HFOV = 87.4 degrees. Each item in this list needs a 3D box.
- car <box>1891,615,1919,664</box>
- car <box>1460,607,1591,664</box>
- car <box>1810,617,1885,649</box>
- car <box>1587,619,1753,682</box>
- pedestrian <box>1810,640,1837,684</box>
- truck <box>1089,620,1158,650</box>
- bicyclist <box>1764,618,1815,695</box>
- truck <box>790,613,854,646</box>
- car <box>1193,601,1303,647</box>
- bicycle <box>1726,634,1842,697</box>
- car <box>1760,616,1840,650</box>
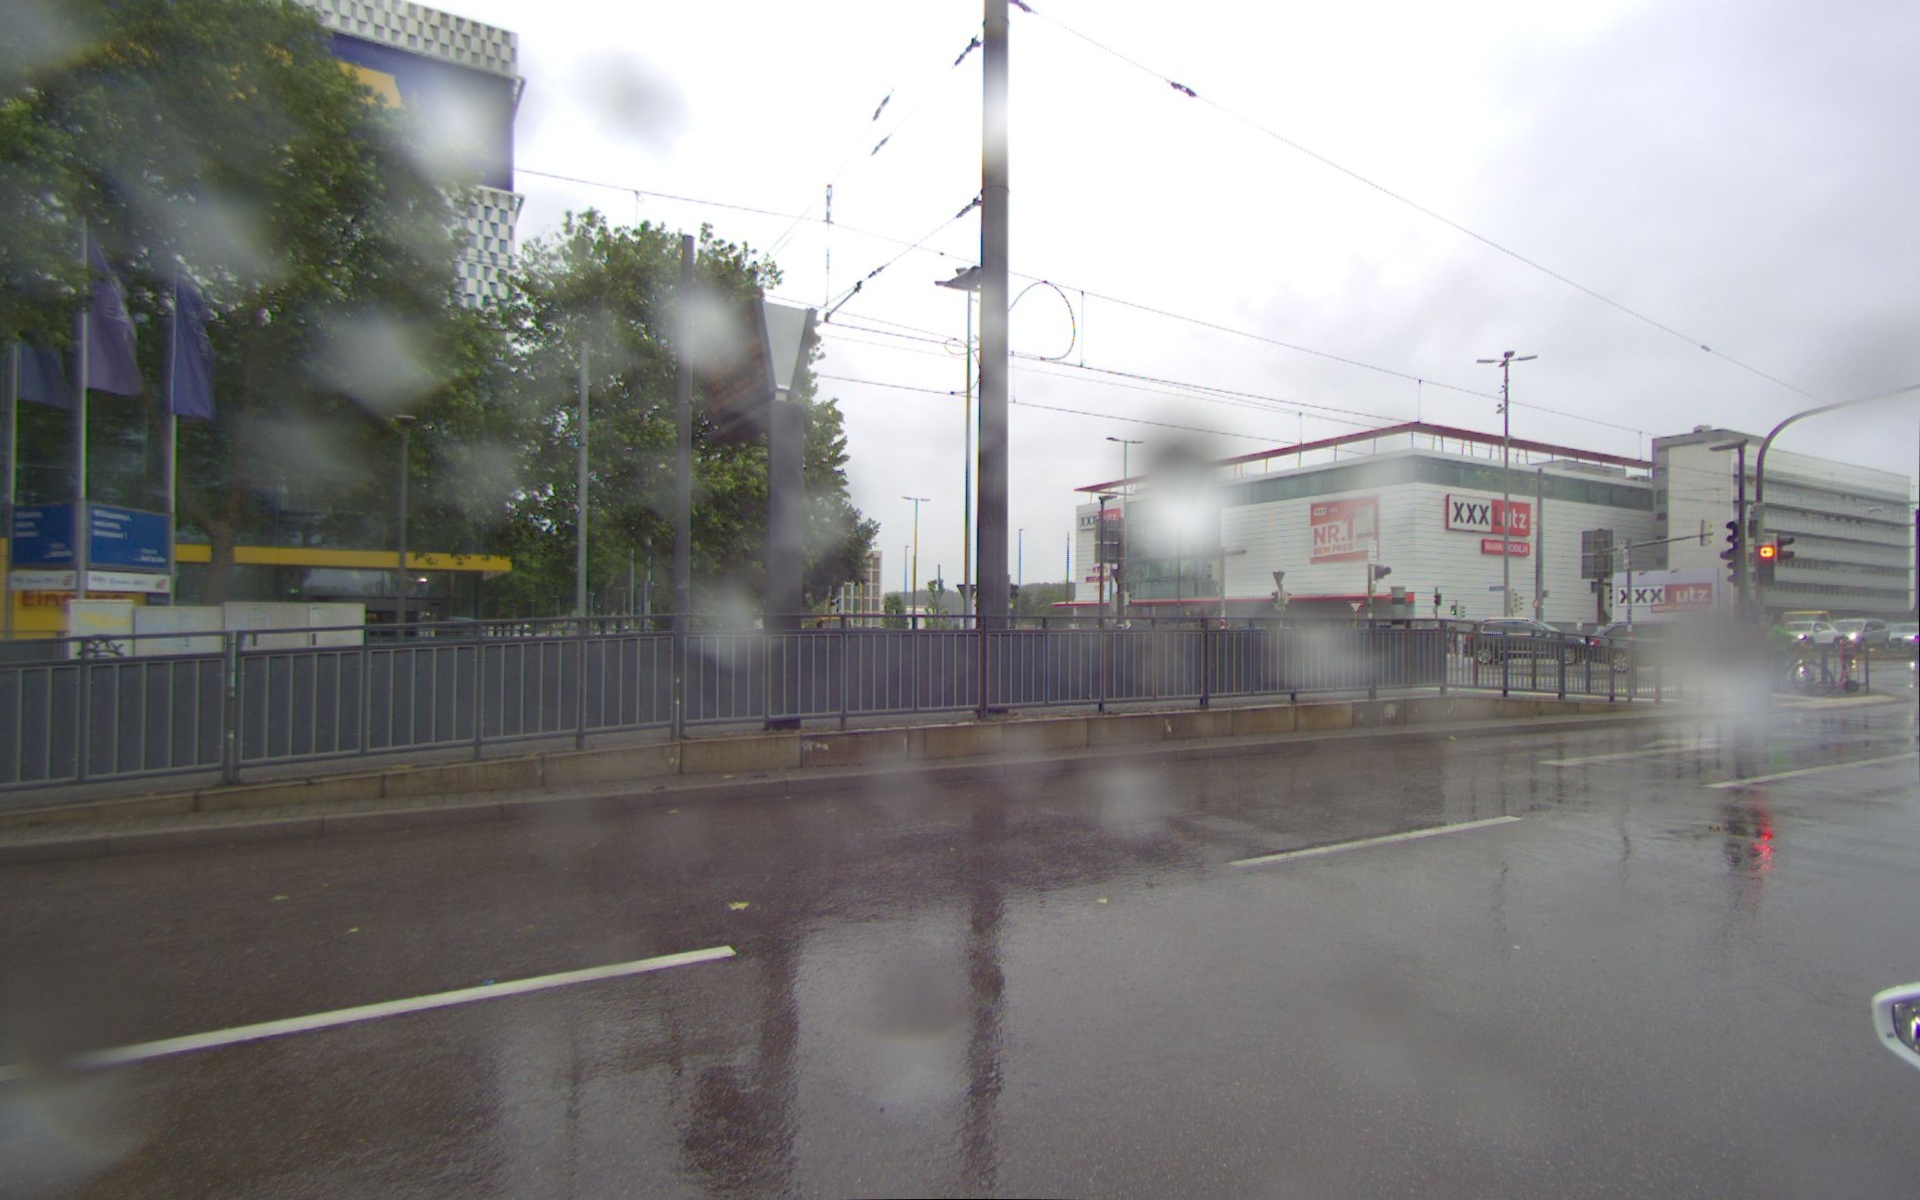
[{"bbox_3d":[30.931,1.305,30.559,3.384,1.417,1.651,3,2,8],"label":"car"},{"bbox_3d":[20.189,1.224,35.923,3.740,1.696,1.698,5,3,41],"label":"car"},{"bbox_3d":[44.802,1.663,50.675,3.765,1.445,1.702,3,1,-30],"label":"car"},{"bbox_3d":[20.476,1.401,29.038,3.740,1.417,1.528,5,3,40],"label":"car"},{"bbox_3d":[18.499,1.331,21.519,0.376,0.909,0.313,1,2,-32],"label":"pedestrian"},{"bbox_3d":[12.714,2.710,78.682,1.990,1.968,5.847,3,1,-31],"label":"truck"},{"bbox_3d":[16.798,1.127,20.351,0.593,1.511,0.600,2,0,20],"label":"bicyclist"},{"bbox_3d":[-11.338,2.360,81.878,2.445,2.240,7.329,3,1,-31],"label":"truck"},{"bbox_3d":[10.966,0.892,38.412,1.639,1.527,3.694,1,1,-44],"label":"car"},{"bbox_3d":[16.666,1.315,20.352,1.724,1.153,0.520,2,0,18],"label":"bicycle"},{"bbox_3d":[39.823,1.583,47.621,3.765,1.445,1.702,3,1,-30],"label":"car"}]
